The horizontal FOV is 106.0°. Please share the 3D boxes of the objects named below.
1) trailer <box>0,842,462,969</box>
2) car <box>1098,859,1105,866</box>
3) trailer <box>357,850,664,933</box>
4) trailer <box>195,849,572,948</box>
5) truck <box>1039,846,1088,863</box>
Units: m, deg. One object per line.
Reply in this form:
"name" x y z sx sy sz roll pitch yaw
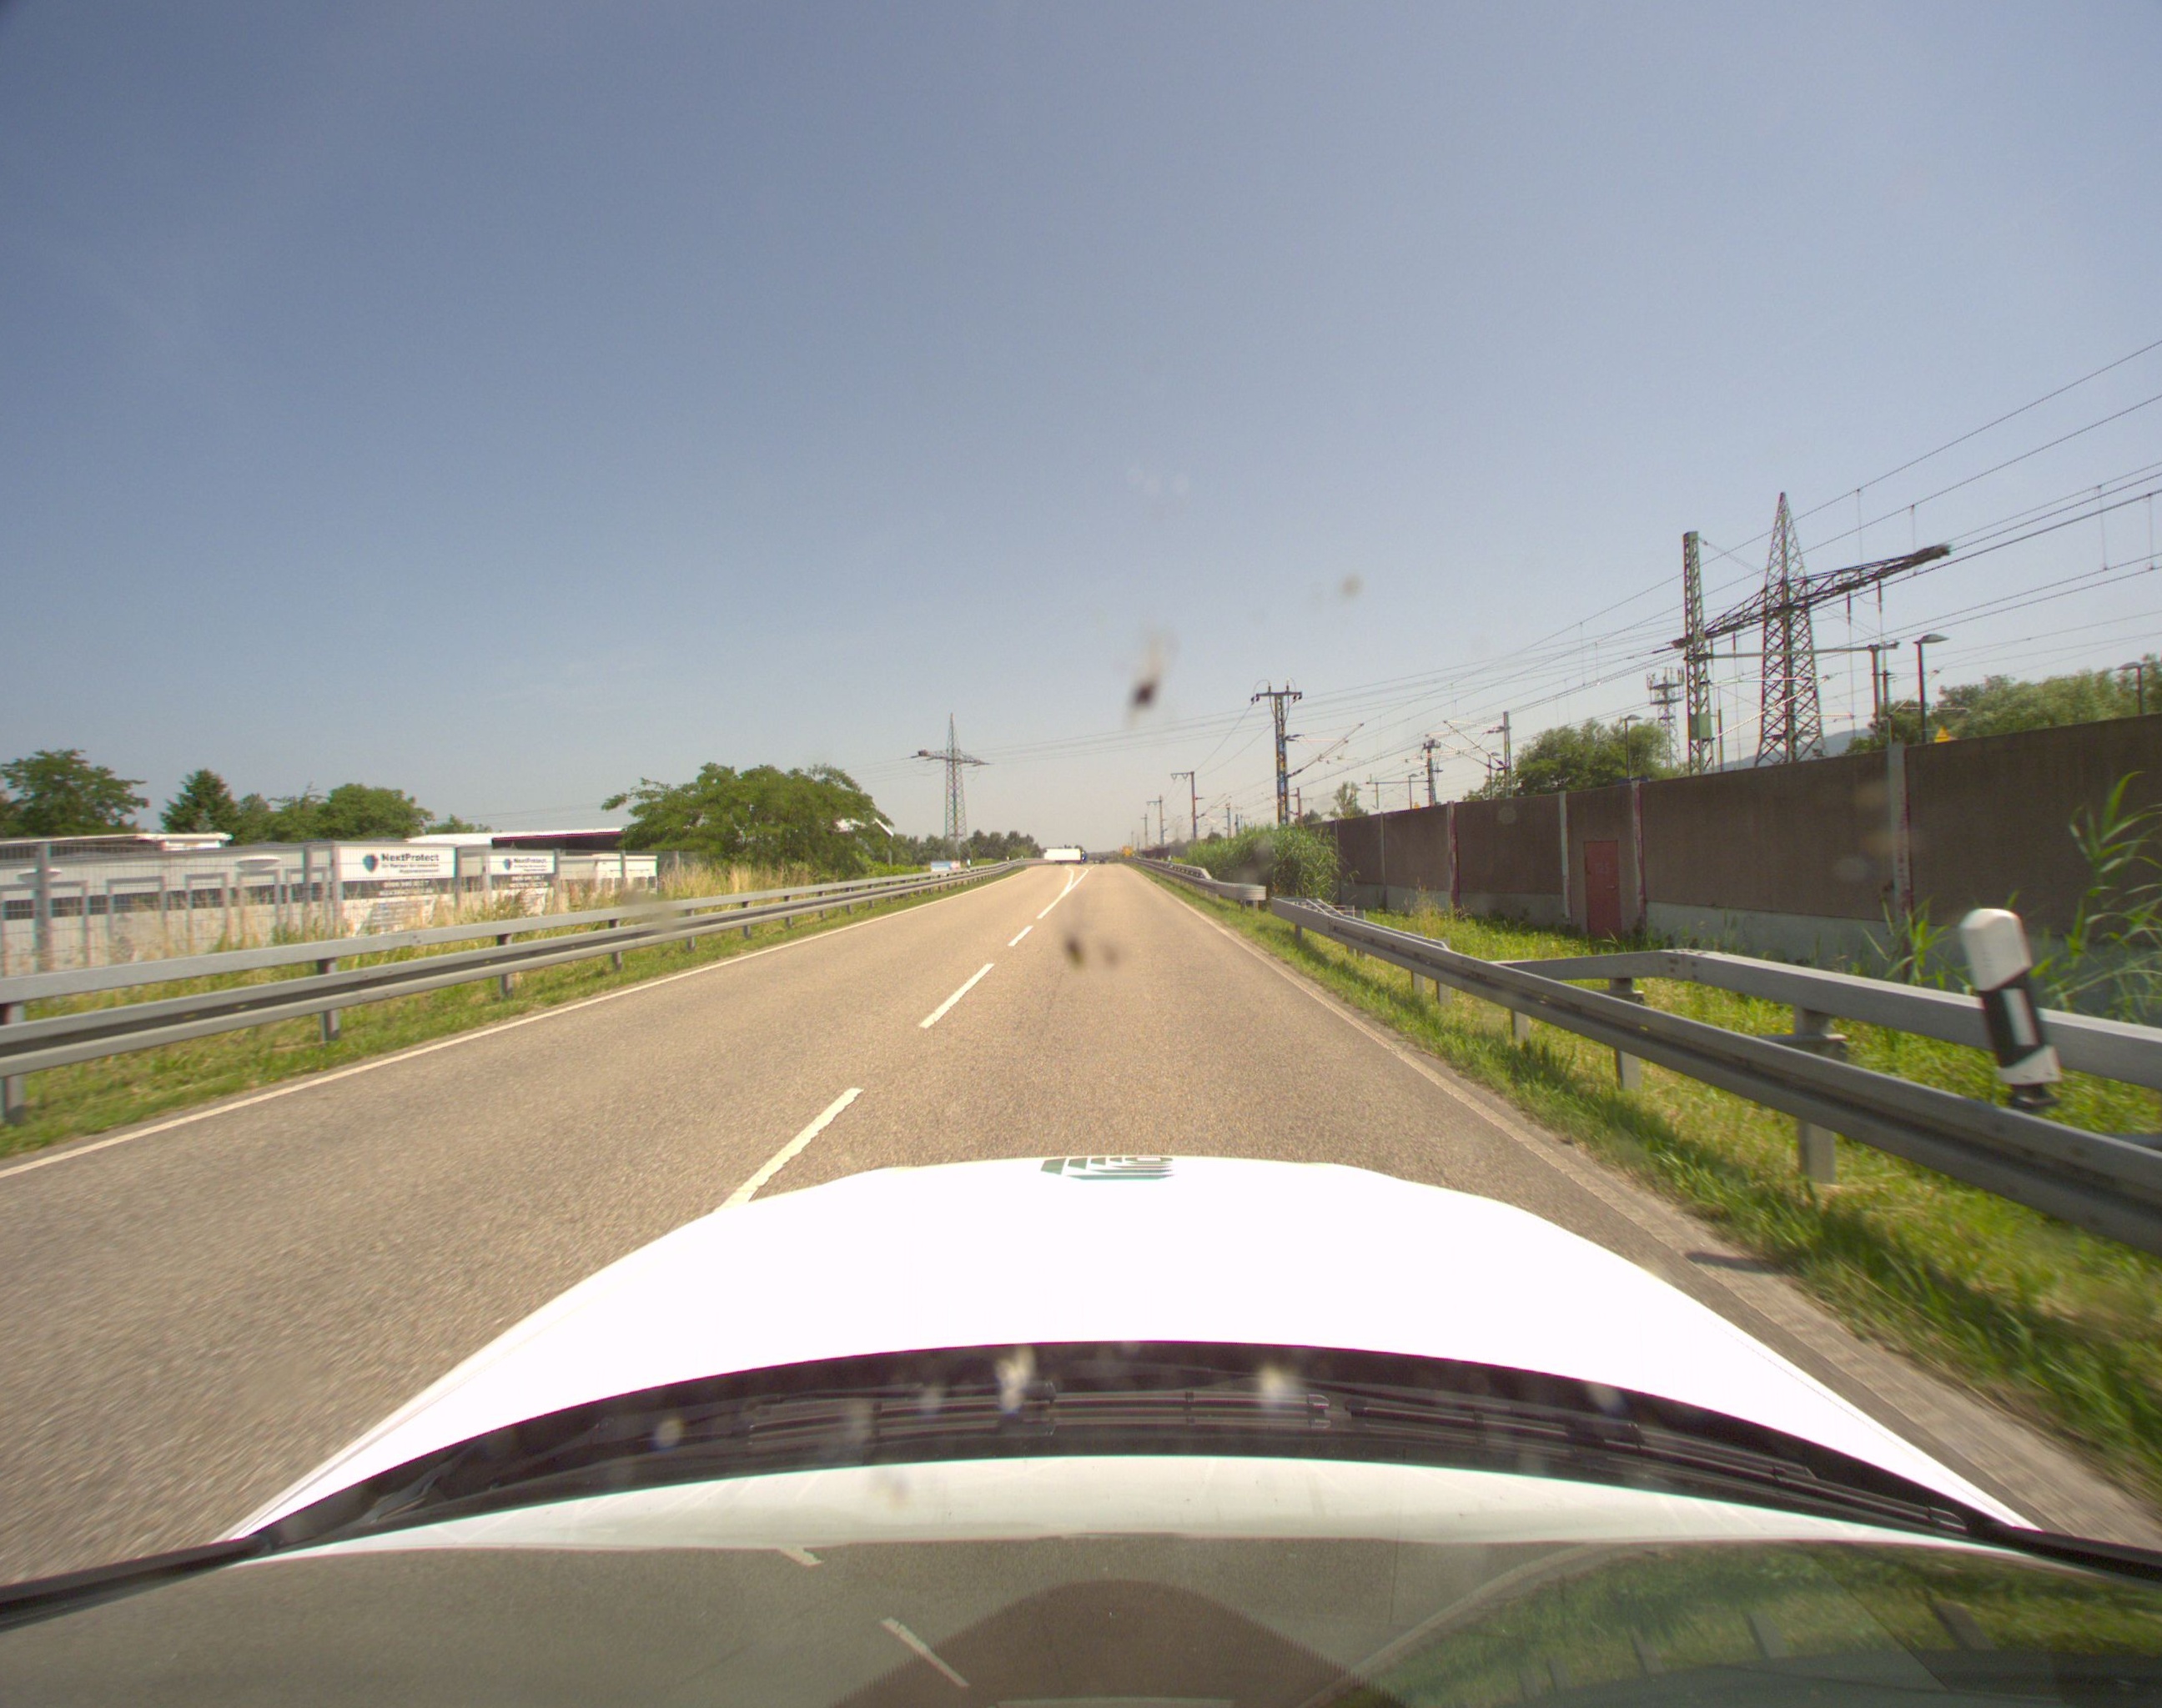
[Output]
"trailer" -14.121 0.788 13.736 5.368 1.848 2.544 -1 0 1
"car" 6.432 2.610 256.250 1.988 2.013 3.997 -1 0 -2
"trailer" -13.169 0.824 19.082 5.501 1.720 2.487 -1 0 4
"trailer" -13.824 0.827 16.445 5.503 1.744 2.486 -1 0 2
"truck" -3.814 0.026 179.405 10.447 3.632 2.826 0 0 -20
